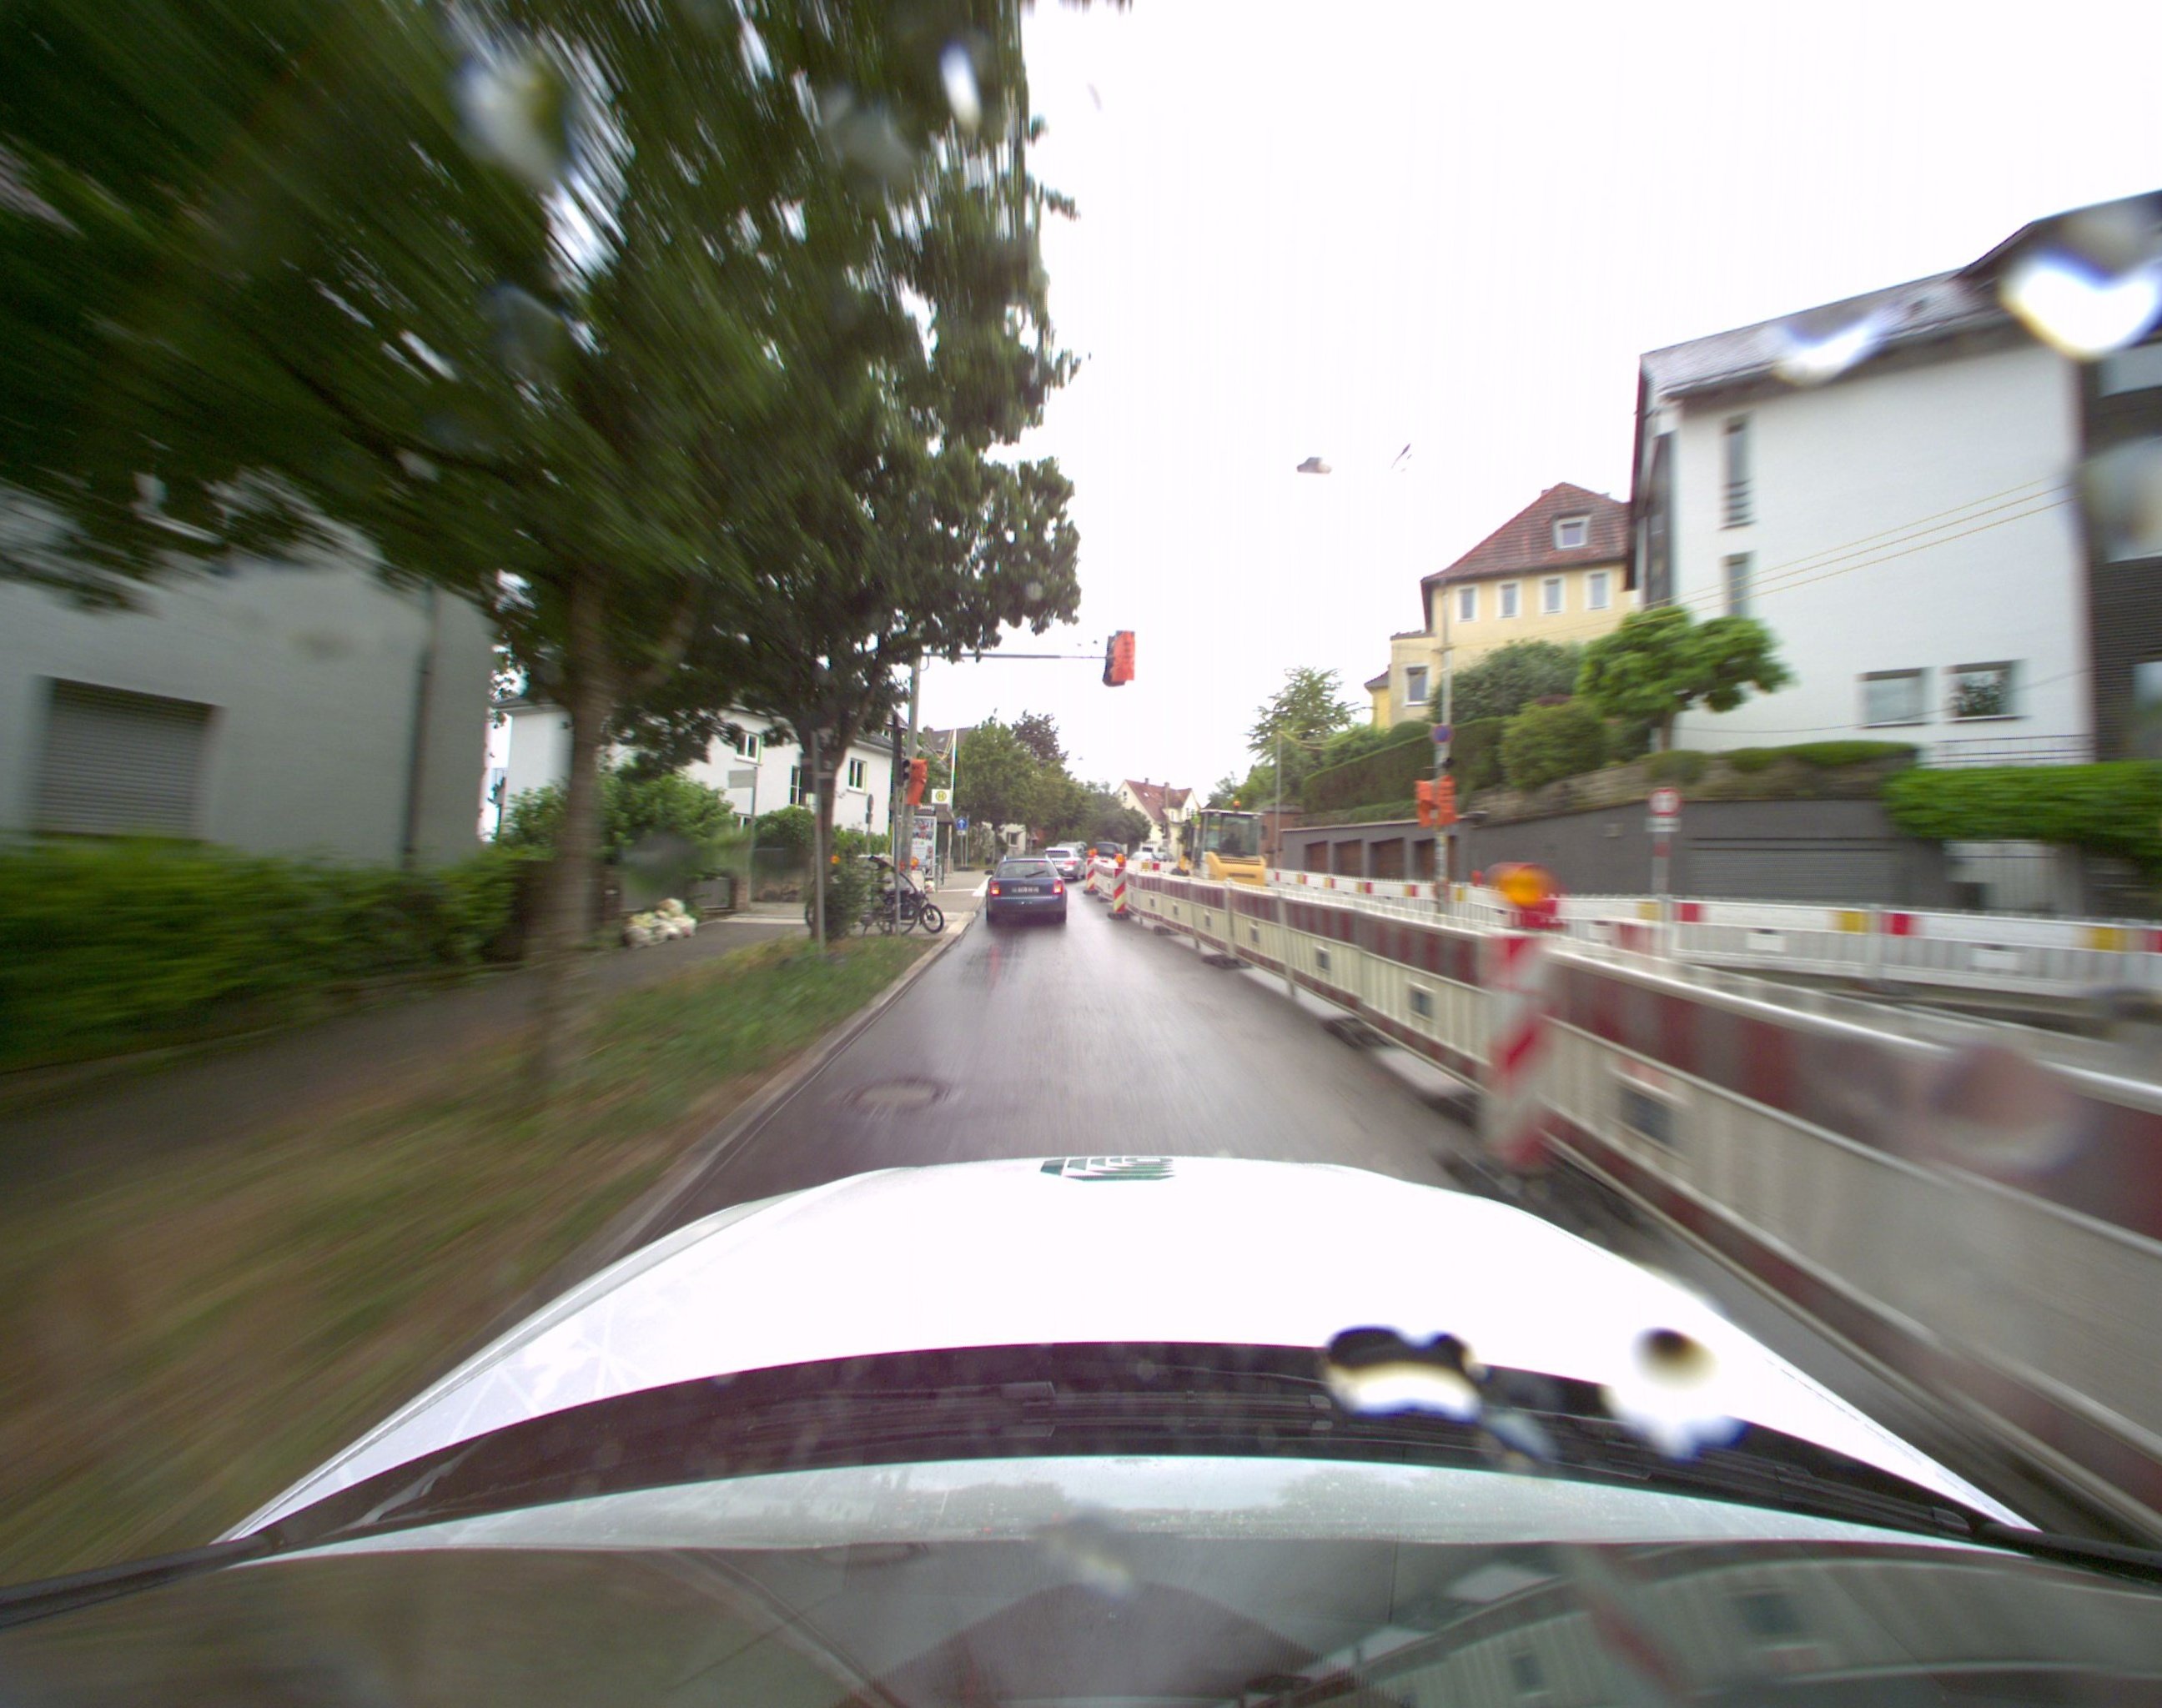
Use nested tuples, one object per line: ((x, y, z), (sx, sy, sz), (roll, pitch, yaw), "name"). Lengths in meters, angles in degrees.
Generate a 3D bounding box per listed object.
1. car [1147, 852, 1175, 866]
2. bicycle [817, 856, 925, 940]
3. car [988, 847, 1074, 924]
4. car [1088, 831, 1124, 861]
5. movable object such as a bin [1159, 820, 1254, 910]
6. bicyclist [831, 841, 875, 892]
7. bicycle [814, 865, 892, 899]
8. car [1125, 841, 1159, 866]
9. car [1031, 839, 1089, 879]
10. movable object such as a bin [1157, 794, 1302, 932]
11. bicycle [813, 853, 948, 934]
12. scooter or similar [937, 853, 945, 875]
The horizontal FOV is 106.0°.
((8.423, 0.509, 85.472), (1.654, 1.466, 3.917), (0, -1, 27), "car")
((-3.520, 0.736, 13.722), (1.691, 1.345, 0.417), (2, 1, -11), "bicycle")
((-1.249, 0.625, 18.622), (1.732, 1.466, 3.991), (-1, 1, -7), "car")
((1.609, -0.526, 50.930), (1.723, 1.768, 4.246), (-1, 1, 9), "car")
((4.310, 0.299, 28.971), (2.082, 2.838, 5.669), (1, 1, -4), "movable object such as a bin")
((-6.489, 0.355, 23.254), (0.902, 1.439, 1.098), (0, -1, 3), "bicyclist")
((-6.482, 0.797, 23.248), (1.863, 0.932, 1.098), (0, 0, 3), "bicycle")
((4.675, -0.043, 61.696), (1.721, 1.768, 4.252), (2, 0, 15), "car")
((-0.847, 0.181, 36.220), (1.965, 1.635, 4.244), (-1, 1, 7), "car")
((3.369, 0.269, 19.819), (2.082, 2.838, 5.667), (1, -2, -4), "movable object such as a bin")
((-3.480, 0.661, 14.316), (2.230, 1.361, 0.806), (0, -1, -11), "bicycle")
((-6.800, 0.474, 39.453), (0.323, 1.080, 1.093), (0, 0, -7), "scooter or similar")
